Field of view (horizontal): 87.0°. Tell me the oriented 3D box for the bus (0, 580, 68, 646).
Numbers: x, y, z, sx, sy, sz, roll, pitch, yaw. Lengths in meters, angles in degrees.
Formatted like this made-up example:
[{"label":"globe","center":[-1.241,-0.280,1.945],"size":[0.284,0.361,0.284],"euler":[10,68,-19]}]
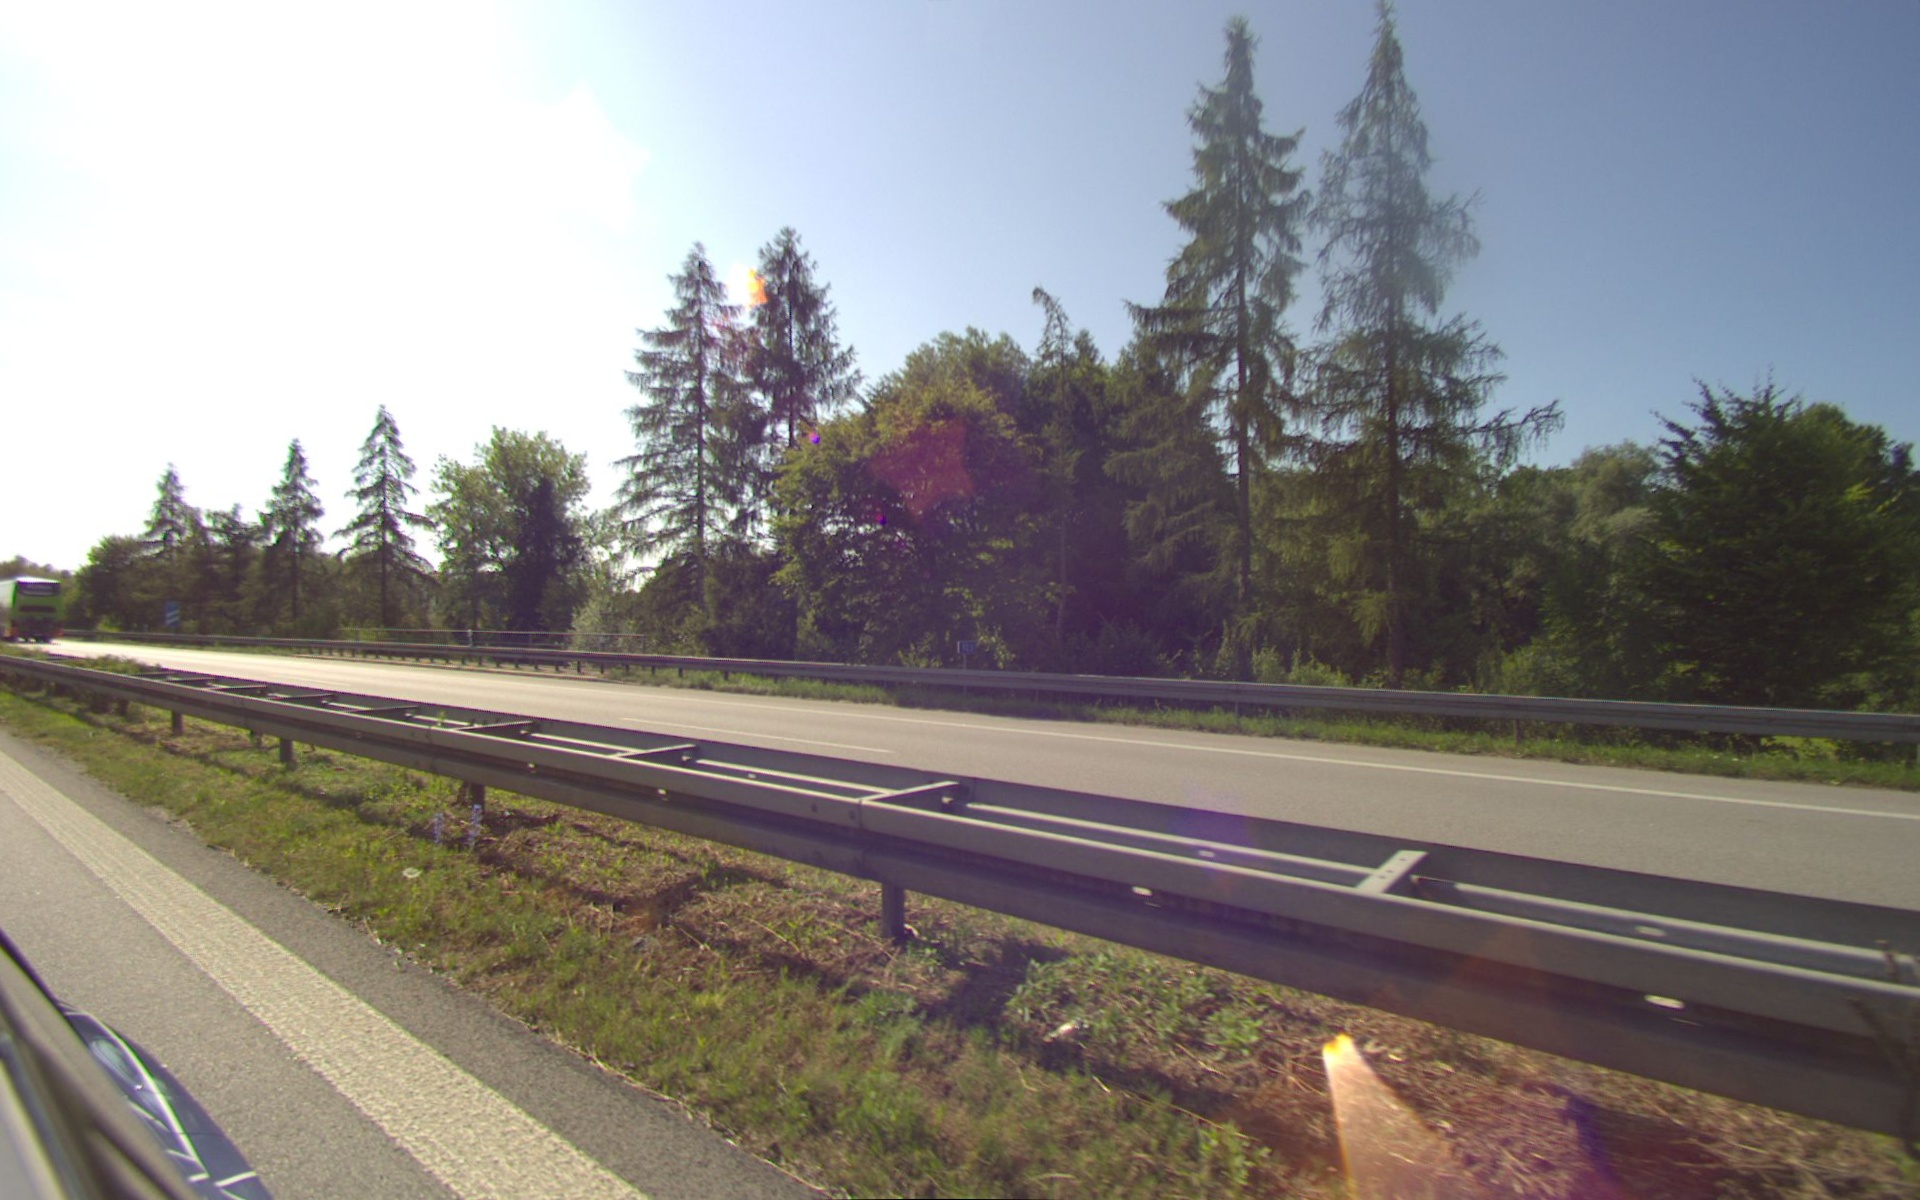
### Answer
[{"label":"bus","center":[-64.024,1.047,68.722],"size":[14.657,4.085,2.906],"euler":[-2,-4,40]}]
